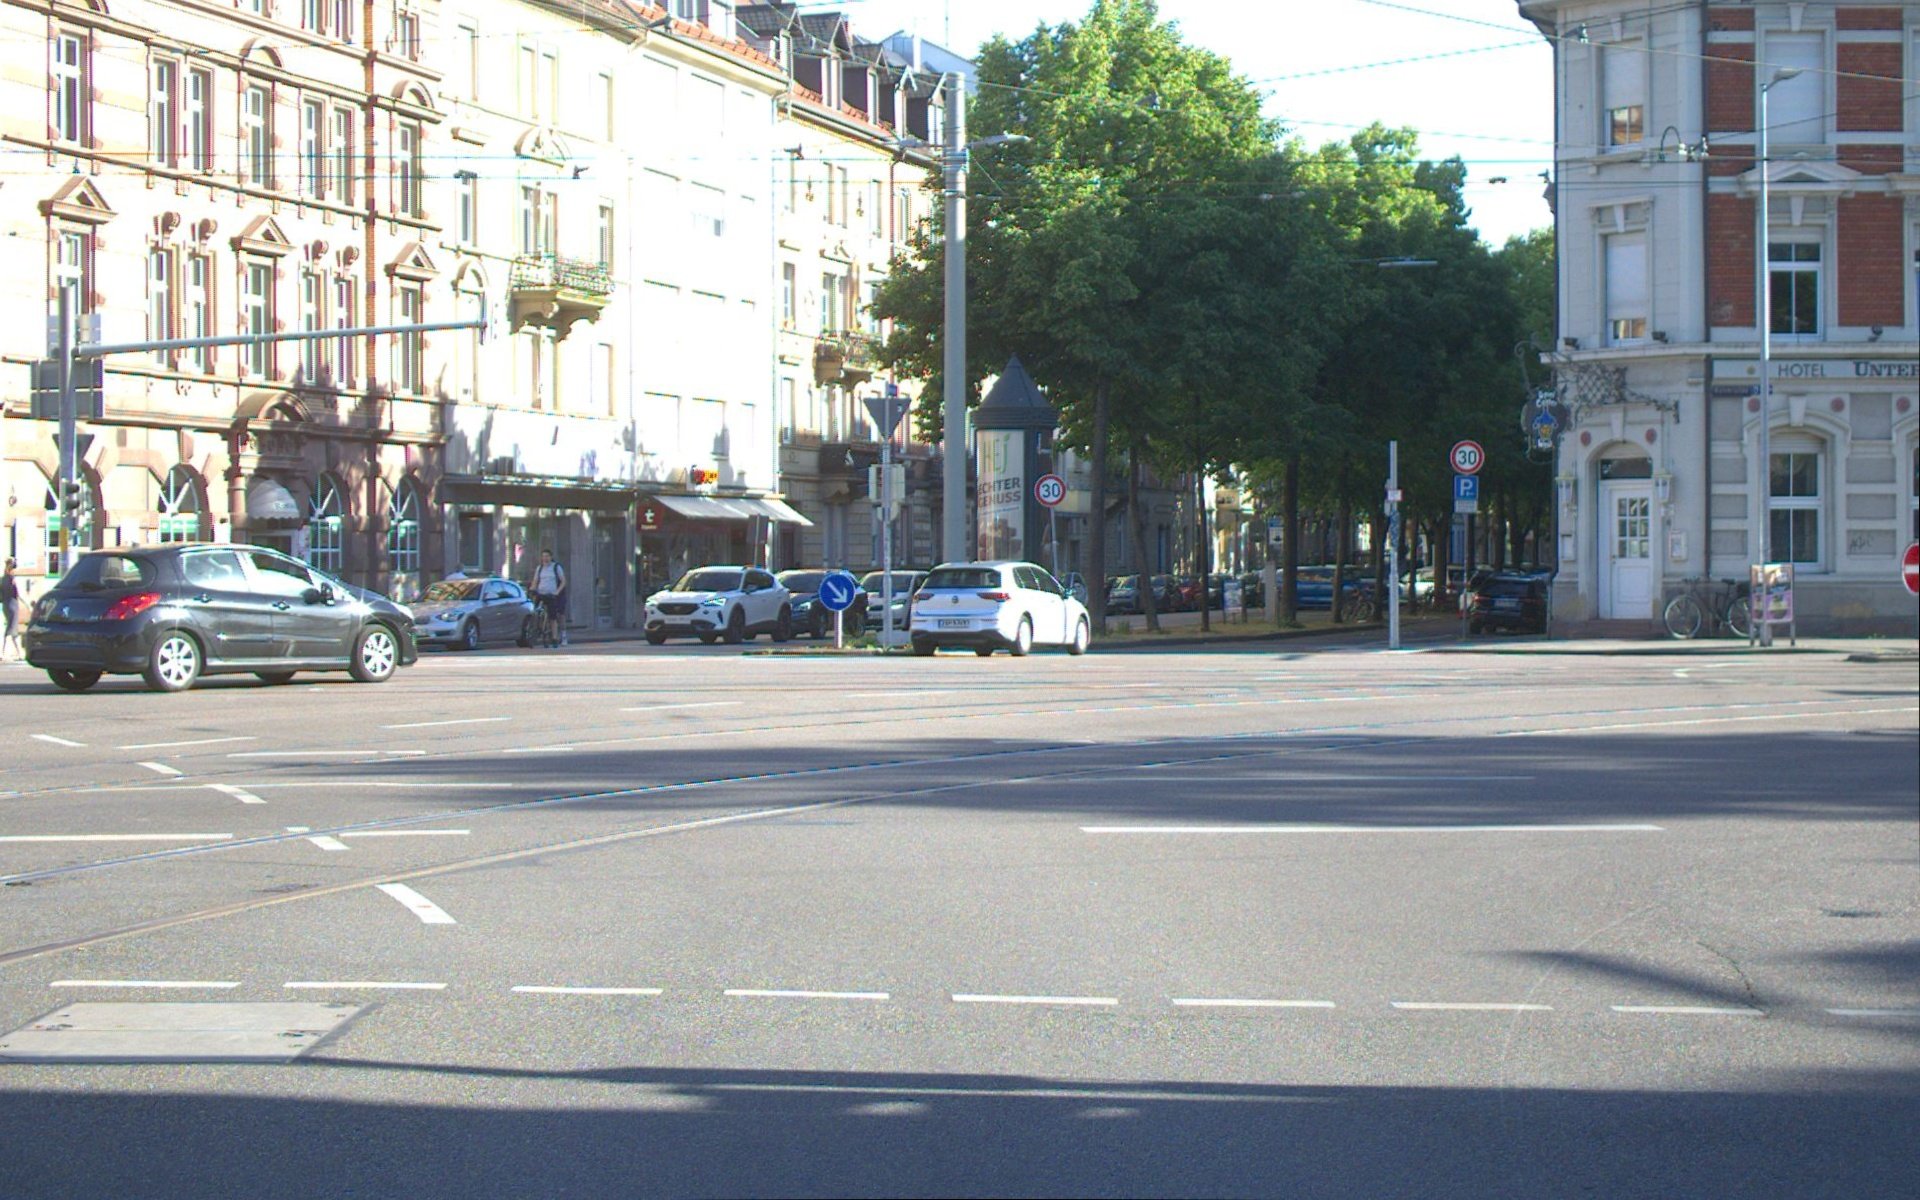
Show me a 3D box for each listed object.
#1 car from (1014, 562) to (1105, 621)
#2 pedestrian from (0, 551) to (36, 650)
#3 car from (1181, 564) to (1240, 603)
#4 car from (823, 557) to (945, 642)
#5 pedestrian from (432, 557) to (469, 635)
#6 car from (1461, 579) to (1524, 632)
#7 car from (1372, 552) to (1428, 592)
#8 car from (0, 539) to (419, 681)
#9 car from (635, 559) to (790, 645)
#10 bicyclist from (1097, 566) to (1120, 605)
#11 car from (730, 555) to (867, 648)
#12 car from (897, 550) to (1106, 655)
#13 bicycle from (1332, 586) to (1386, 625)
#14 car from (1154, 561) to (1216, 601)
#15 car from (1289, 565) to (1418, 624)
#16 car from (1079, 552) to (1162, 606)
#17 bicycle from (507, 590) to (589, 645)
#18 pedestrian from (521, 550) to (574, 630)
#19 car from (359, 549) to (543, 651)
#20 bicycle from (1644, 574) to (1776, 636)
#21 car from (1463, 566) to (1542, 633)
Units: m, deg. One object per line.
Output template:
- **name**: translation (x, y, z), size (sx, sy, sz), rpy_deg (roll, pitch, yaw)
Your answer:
- **car**: translation (3.277, -0.291, 112.716), size (1.995, 1.897, 3.997), rpy_deg (1, 1, 17)
- **pedestrian**: translation (-15.637, 0.004, 56.681), size (0.633, 1.628, 0.701), rpy_deg (1, 0, -4)
- **car**: translation (9.929, -0.657, 136.298), size (1.560, 1.508, 3.653), rpy_deg (1, 1, 17)
- **car**: translation (-1.737, -0.028, 79.833), size (1.994, 1.897, 3.998), rpy_deg (1, 1, 11)
- **pedestrian**: translation (-10.778, -0.084, 72.730), size (0.544, 1.626, 0.706), rpy_deg (1, 0, 13)
- **car**: translation (16.363, 0.154, 105.524), size (1.692, 1.559, 3.839), rpy_deg (1, 1, 11)
- **car**: translation (17.223, -1.084, 134.544), size (1.560, 1.508, 3.653), rpy_deg (1, 1, 17)
- **car**: translation (-7.613, 0.094, 35.071), size (1.758, 1.357, 3.846), rpy_deg (1, 1, 43)
- **car**: translation (-4.799, 0.024, 67.231), size (1.994, 1.612, 3.998), rpy_deg (1, 1, 11)
- **bicyclist**: translation (4.865, -0.484, 112.526), size (0.626, 1.261, 0.558), rpy_deg (1, 0, 16)
- **car**: translation (-3.434, 0.010, 73.652), size (1.994, 1.897, 3.998), rpy_deg (1, 1, 11)
- **car**: translation (0.678, 0.026, 52.490), size (1.774, 1.525, 3.995), rpy_deg (1, 1, 23)
- **bicycle**: translation (11.503, 0.156, 99.084), size (0.626, 1.081, 1.703), rpy_deg (1, 1, -31)
- **car**: translation (8.639, -0.726, 131.657), size (1.560, 1.508, 3.653), rpy_deg (1, 1, 17)
- **car**: translation (13.158, -0.178, 114.987), size (3.990, 1.897, 1.998), rpy_deg (1, 1, 16)
- **car**: translation (5.738, -0.751, 122.605), size (1.995, 1.897, 3.997), rpy_deg (1, 1, 17)
- **bicycle**: translation (-7.816, 0.331, 65.300), size (0.763, 1.004, 2.395), rpy_deg (1, 1, 13)
- **pedestrian**: translation (-7.830, -0.196, 65.220), size (0.821, 1.507, 0.598), rpy_deg (1, 0, 15)
- **car**: translation (-9.892, -0.013, 67.125), size (1.995, 1.897, 3.997), rpy_deg (1, 1, 17)
- **bicycle**: translation (12.451, 0.084, 57.105), size (2.049, 0.994, 0.630), rpy_deg (1, 0, 3)
- **car**: translation (13.065, -0.025, 82.605), size (1.692, 1.559, 3.839), rpy_deg (1, 1, 11)
